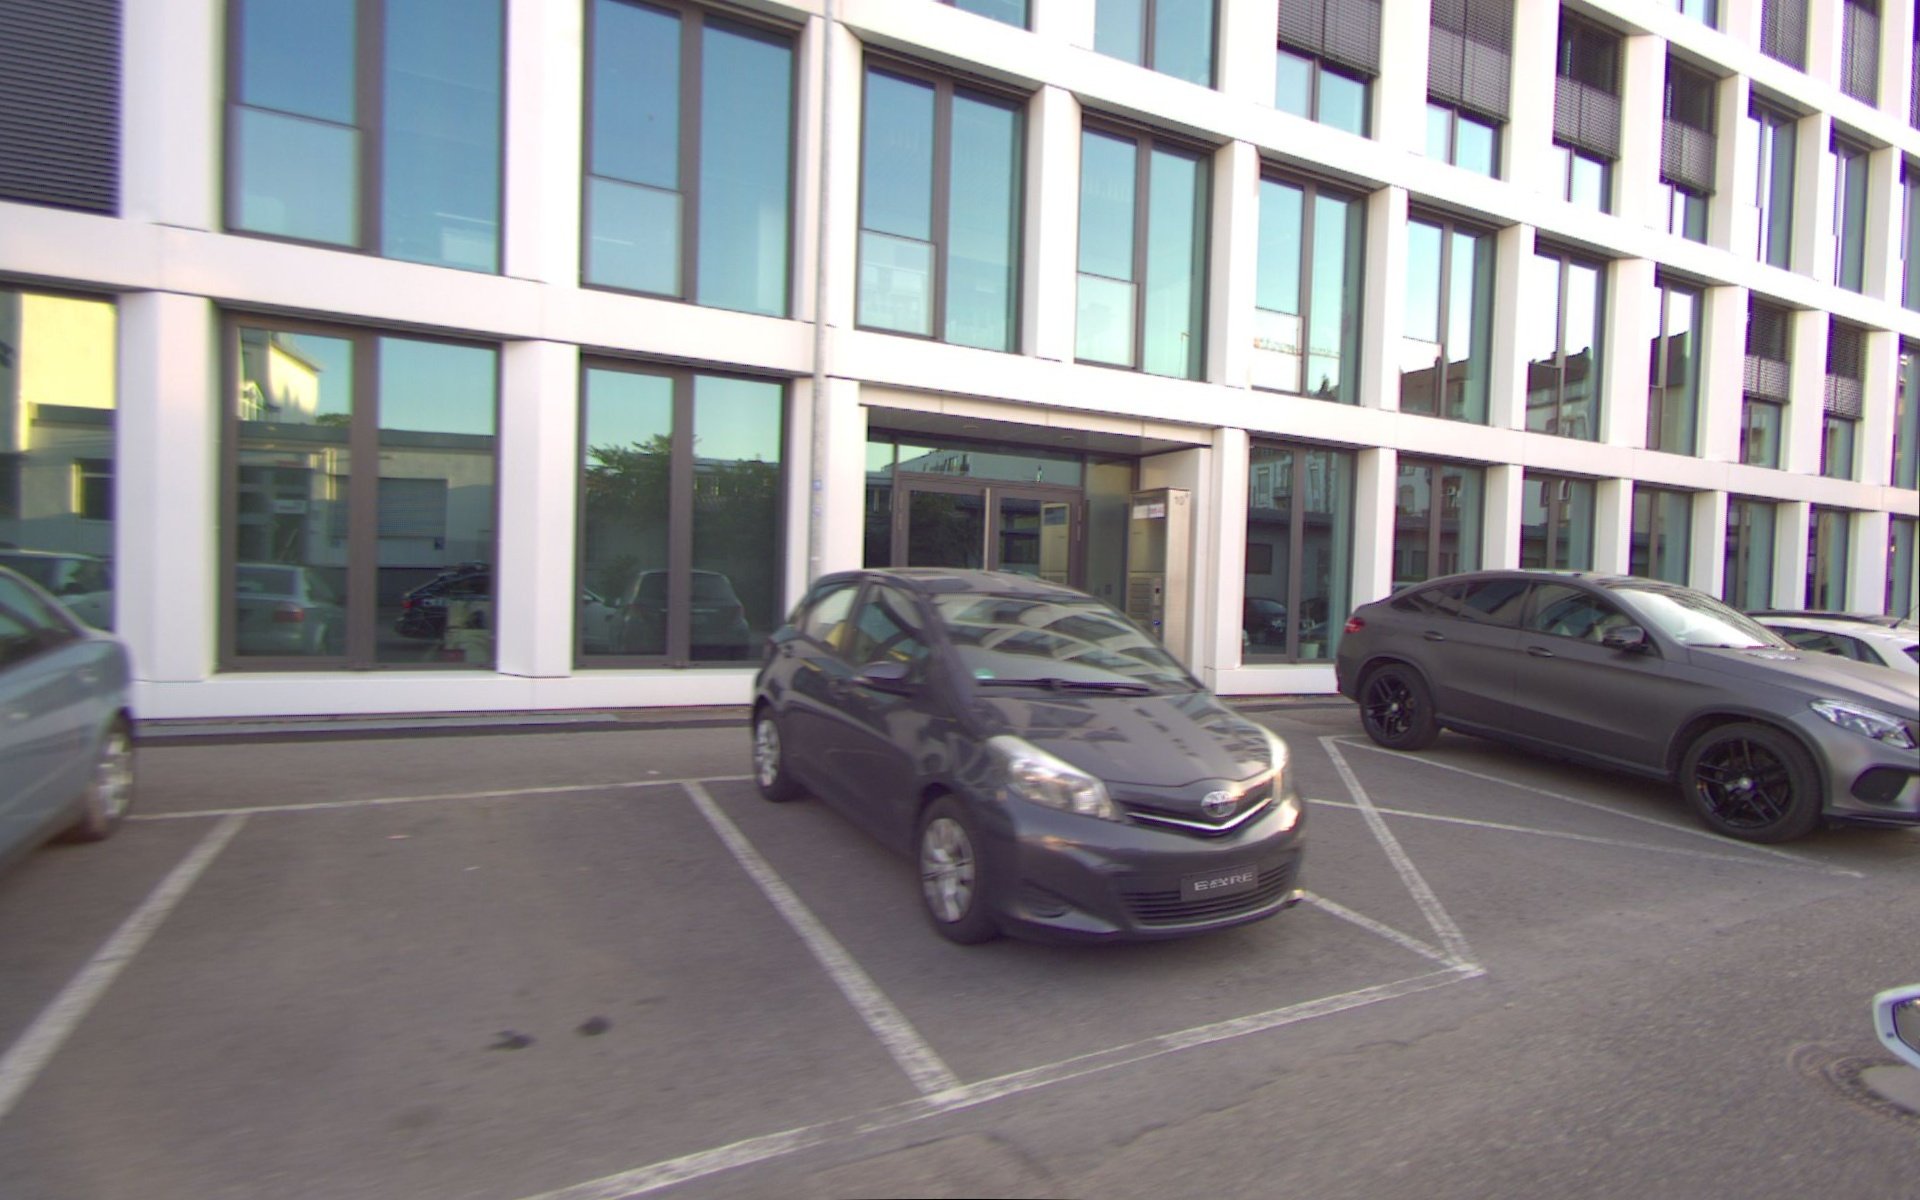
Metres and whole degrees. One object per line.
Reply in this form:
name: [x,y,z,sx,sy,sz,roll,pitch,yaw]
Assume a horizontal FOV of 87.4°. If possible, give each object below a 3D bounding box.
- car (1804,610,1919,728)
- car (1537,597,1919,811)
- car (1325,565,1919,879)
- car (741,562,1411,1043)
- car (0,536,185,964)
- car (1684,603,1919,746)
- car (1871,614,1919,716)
car: [13.988,1.011,13.499,1.665,1.532,3.641,1,2,-26]
car: [7.730,0.832,9.467,1.672,1.532,3.657,1,2,-23]
car: [5.447,0.642,8.210,1.976,1.729,4.607,1,2,-23]
car: [0.194,0.620,5.363,1.673,1.543,3.765,1,2,-28]
car: [-4.281,0.514,3.358,1.770,1.516,4.294,1,2,-25]
car: [11.646,0.908,12.441,1.772,1.532,3.951,1,2,-25]
car: [15.883,1.072,14.507,1.665,1.532,3.641,1,2,-26]
